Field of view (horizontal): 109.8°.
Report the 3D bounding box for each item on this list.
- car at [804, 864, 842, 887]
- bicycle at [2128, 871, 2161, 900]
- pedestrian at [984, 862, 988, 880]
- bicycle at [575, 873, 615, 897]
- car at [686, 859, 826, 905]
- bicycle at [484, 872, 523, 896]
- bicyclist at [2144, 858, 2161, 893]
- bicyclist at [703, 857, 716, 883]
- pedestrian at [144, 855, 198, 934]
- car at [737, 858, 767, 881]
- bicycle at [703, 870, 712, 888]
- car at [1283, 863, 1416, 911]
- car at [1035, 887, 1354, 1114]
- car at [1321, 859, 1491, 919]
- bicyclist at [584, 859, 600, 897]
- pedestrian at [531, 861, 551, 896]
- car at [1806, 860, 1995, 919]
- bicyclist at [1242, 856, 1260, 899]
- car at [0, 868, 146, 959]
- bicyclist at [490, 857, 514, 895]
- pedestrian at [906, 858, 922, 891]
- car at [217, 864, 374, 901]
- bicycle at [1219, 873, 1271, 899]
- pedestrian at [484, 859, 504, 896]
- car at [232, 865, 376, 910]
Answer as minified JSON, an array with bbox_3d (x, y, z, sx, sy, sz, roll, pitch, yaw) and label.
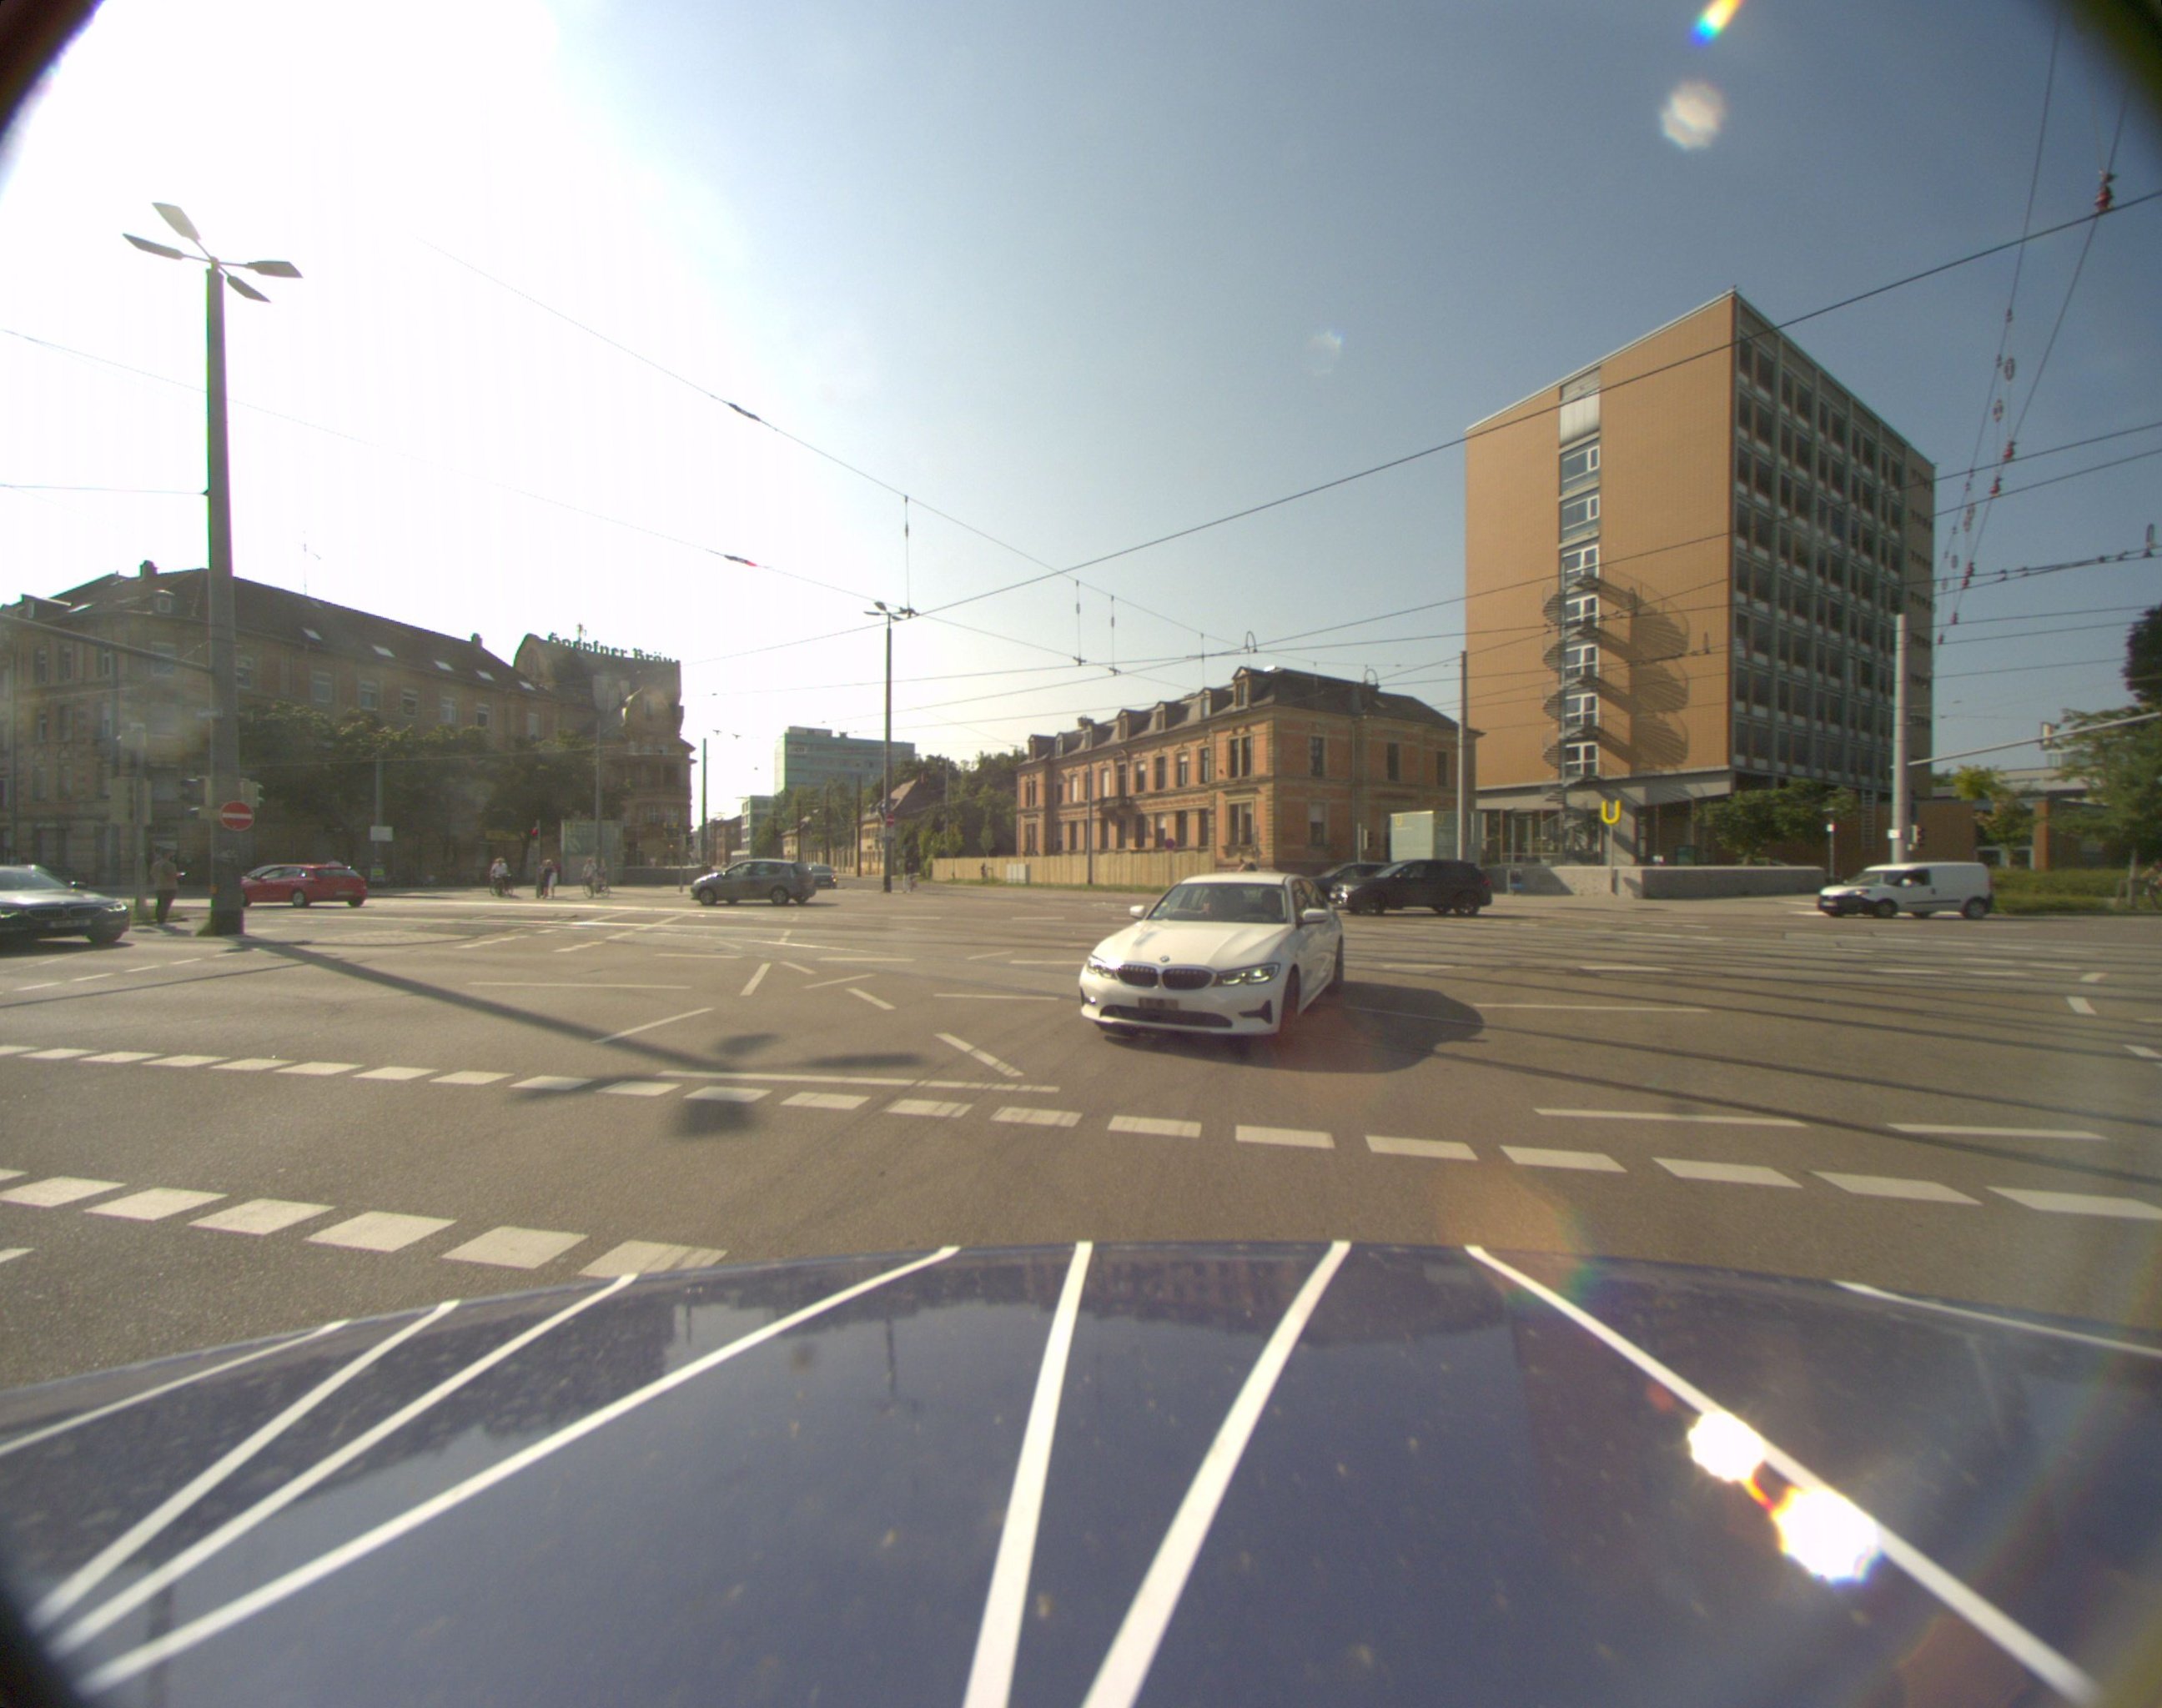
[{"bbox_3d":[-15.667,1.255,46.036,1.696,1.319,3.992,0,0,-25],"label":"car"},{"bbox_3d":[44.654,1.298,31.582,1.771,1.187,0.401,0,0,-1],"label":"bicycle"},{"bbox_3d":[-7.821,1.387,62.391,0.237,1.521,0.326,0,0,-30],"label":"pedestrian"},{"bbox_3d":[-22.309,1.416,34.887,1.529,1.019,0.433,-1,0,-30],"label":"bicycle"},{"bbox_3d":[-11.668,0.998,27.432,4.285,1.614,1.816,0,-1,3],"label":"car"},{"bbox_3d":[-26.289,1.354,34.618,0.433,1.018,1.527,0,0,7],"label":"bicycle"},{"bbox_3d":[44.801,0.885,31.637,0.548,1.471,0.397,0,0,0],"label":"bicyclist"},{"bbox_3d":[-23.194,0.986,47.461,0.663,1.627,0.916,0,0,-24],"label":"bicyclist"},{"bbox_3d":[-20.242,0.888,16.914,0.597,1.720,0.526,0,0,9],"label":"pedestrian"},{"bbox_3d":[-24.495,1.108,56.550,1.930,1.626,3.992,0,0,-25],"label":"car"},{"bbox_3d":[-23.343,1.550,47.449,0.401,1.084,1.924,0,0,-23],"label":"bicycle"},{"bbox_3d":[9.111,1.113,26.035,3.972,1.572,1.744,0,-1,2],"label":"car"},{"bbox_3d":[1.538,1.147,7.907,1.810,1.419,4.783,0,0,28],"label":"car"},{"bbox_3d":[9.593,1.036,22.648,4.286,1.696,1.769,0,-2,1],"label":"car"},{"bbox_3d":[-22.413,1.074,34.828,0.588,1.720,0.594,0,0,-32],"label":"bicyclist"},{"bbox_3d":[-25.312,1.147,35.612,0.523,1.631,0.506,0,0,11],"label":"pedestrian"},{"bbox_3d":[27.096,1.165,25.236,4.286,1.874,1.795,0,-2,1],"label":"car"},{"bbox_3d":[7.366,1.005,32.936,0.709,1.851,0.783,0,0,11],"label":"bicyclist"},{"bbox_3d":[-19.492,0.993,13.587,4.342,1.443,1.805,0,0,14],"label":"car"},{"bbox_3d":[-26.344,1.005,34.577,0.646,1.707,0.588,0,0,9],"label":"bicyclist"},{"bbox_3d":[-8.755,1.063,39.888,0.794,1.677,0.660,0,0,-8],"label":"pedestrian"},{"bbox_3d":[-32.391,1.141,31.410,4.736,1.466,1.916,0,0,5],"label":"car"},{"bbox_3d":[7.103,1.387,32.989,2.183,1.089,0.530,0,0,11],"label":"bicycle"},{"bbox_3d":[-27.495,1.073,35.608,0.623,1.716,0.506,-1,0,26],"label":"pedestrian"},{"bbox_3d":[-26.258,1.100,25.726,3.774,1.439,1.679,0,-1,13],"label":"car"}]
